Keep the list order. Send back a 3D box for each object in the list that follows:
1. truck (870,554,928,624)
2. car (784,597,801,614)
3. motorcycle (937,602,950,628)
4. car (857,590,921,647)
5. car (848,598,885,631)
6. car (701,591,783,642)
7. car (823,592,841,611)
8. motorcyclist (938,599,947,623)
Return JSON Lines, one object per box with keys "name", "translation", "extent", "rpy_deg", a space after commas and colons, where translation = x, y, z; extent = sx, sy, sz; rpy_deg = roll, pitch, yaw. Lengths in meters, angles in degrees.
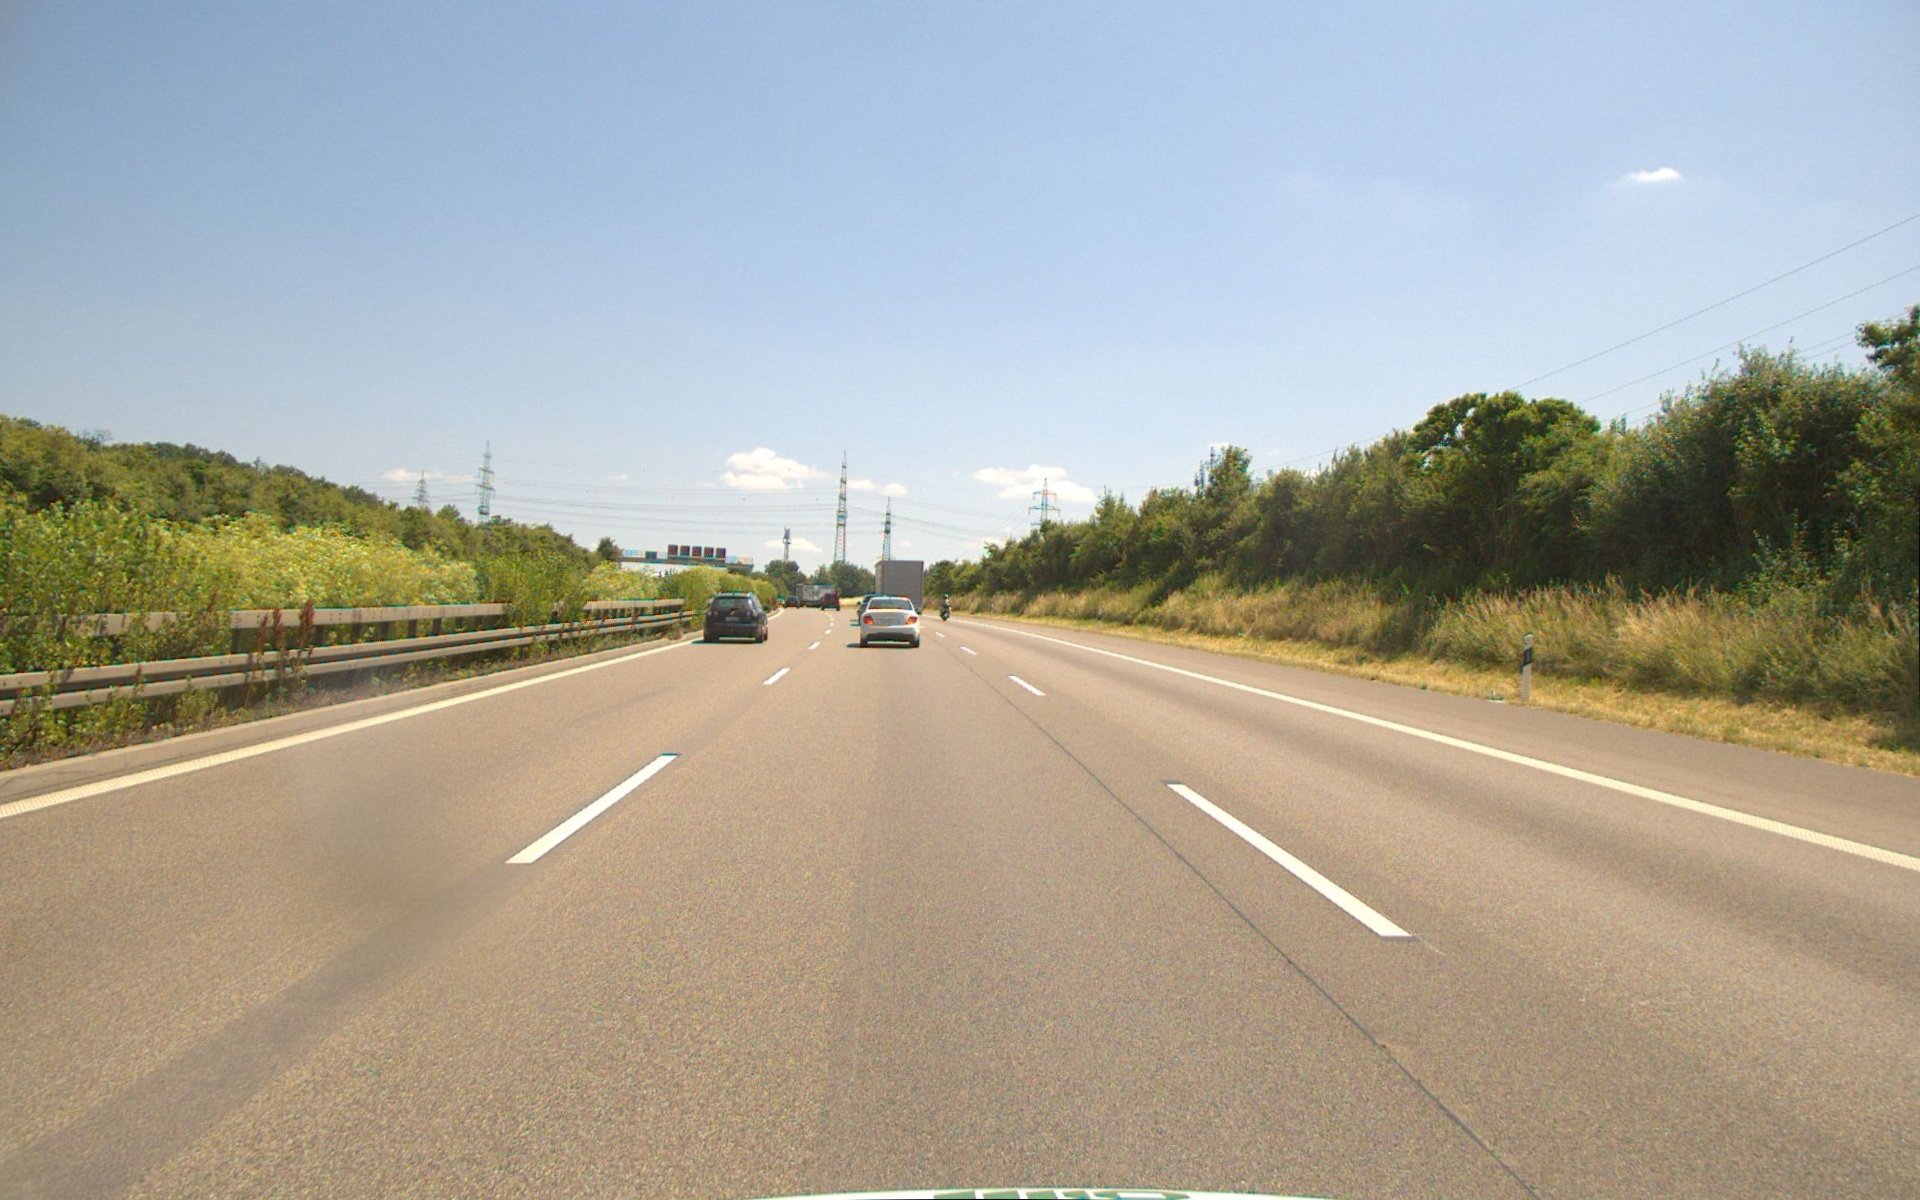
{"name": "truck", "translation": [-3.772, -0.643, 100.546], "extent": [3.158, 3.993, 9.053], "rpy_deg": [1, 0, -4]}
{"name": "car", "translation": [-20.162, 0.641, 198.906], "extent": [1.955, 1.892, 3.996], "rpy_deg": [1, 0, -5]}
{"name": "motorcycle", "translation": [-1.082, 0.950, 106.637], "extent": [0.793, 1.635, 1.782], "rpy_deg": [1, 0, 0]}
{"name": "car", "translation": [-2.097, 0.516, 48.553], "extent": [1.783, 1.567, 3.912], "rpy_deg": [0, 0, -3]}
{"name": "car", "translation": [-4.653, 0.704, 82.749], "extent": [1.802, 1.567, 3.912], "rpy_deg": [0, 0, -3]}
{"name": "car", "translation": [-6.537, 0.455, 49.925], "extent": [1.719, 1.454, 4.002], "rpy_deg": [1, 0, 3]}
{"name": "car", "translation": [-13.463, 0.157, 173.485], "extent": [1.864, 1.959, 3.996], "rpy_deg": [0, 0, -4]}
{"name": "motorcyclist", "translation": [-1.144, 0.703, 106.614], "extent": [0.560, 1.505, 0.700], "rpy_deg": [0, 0, 1]}
